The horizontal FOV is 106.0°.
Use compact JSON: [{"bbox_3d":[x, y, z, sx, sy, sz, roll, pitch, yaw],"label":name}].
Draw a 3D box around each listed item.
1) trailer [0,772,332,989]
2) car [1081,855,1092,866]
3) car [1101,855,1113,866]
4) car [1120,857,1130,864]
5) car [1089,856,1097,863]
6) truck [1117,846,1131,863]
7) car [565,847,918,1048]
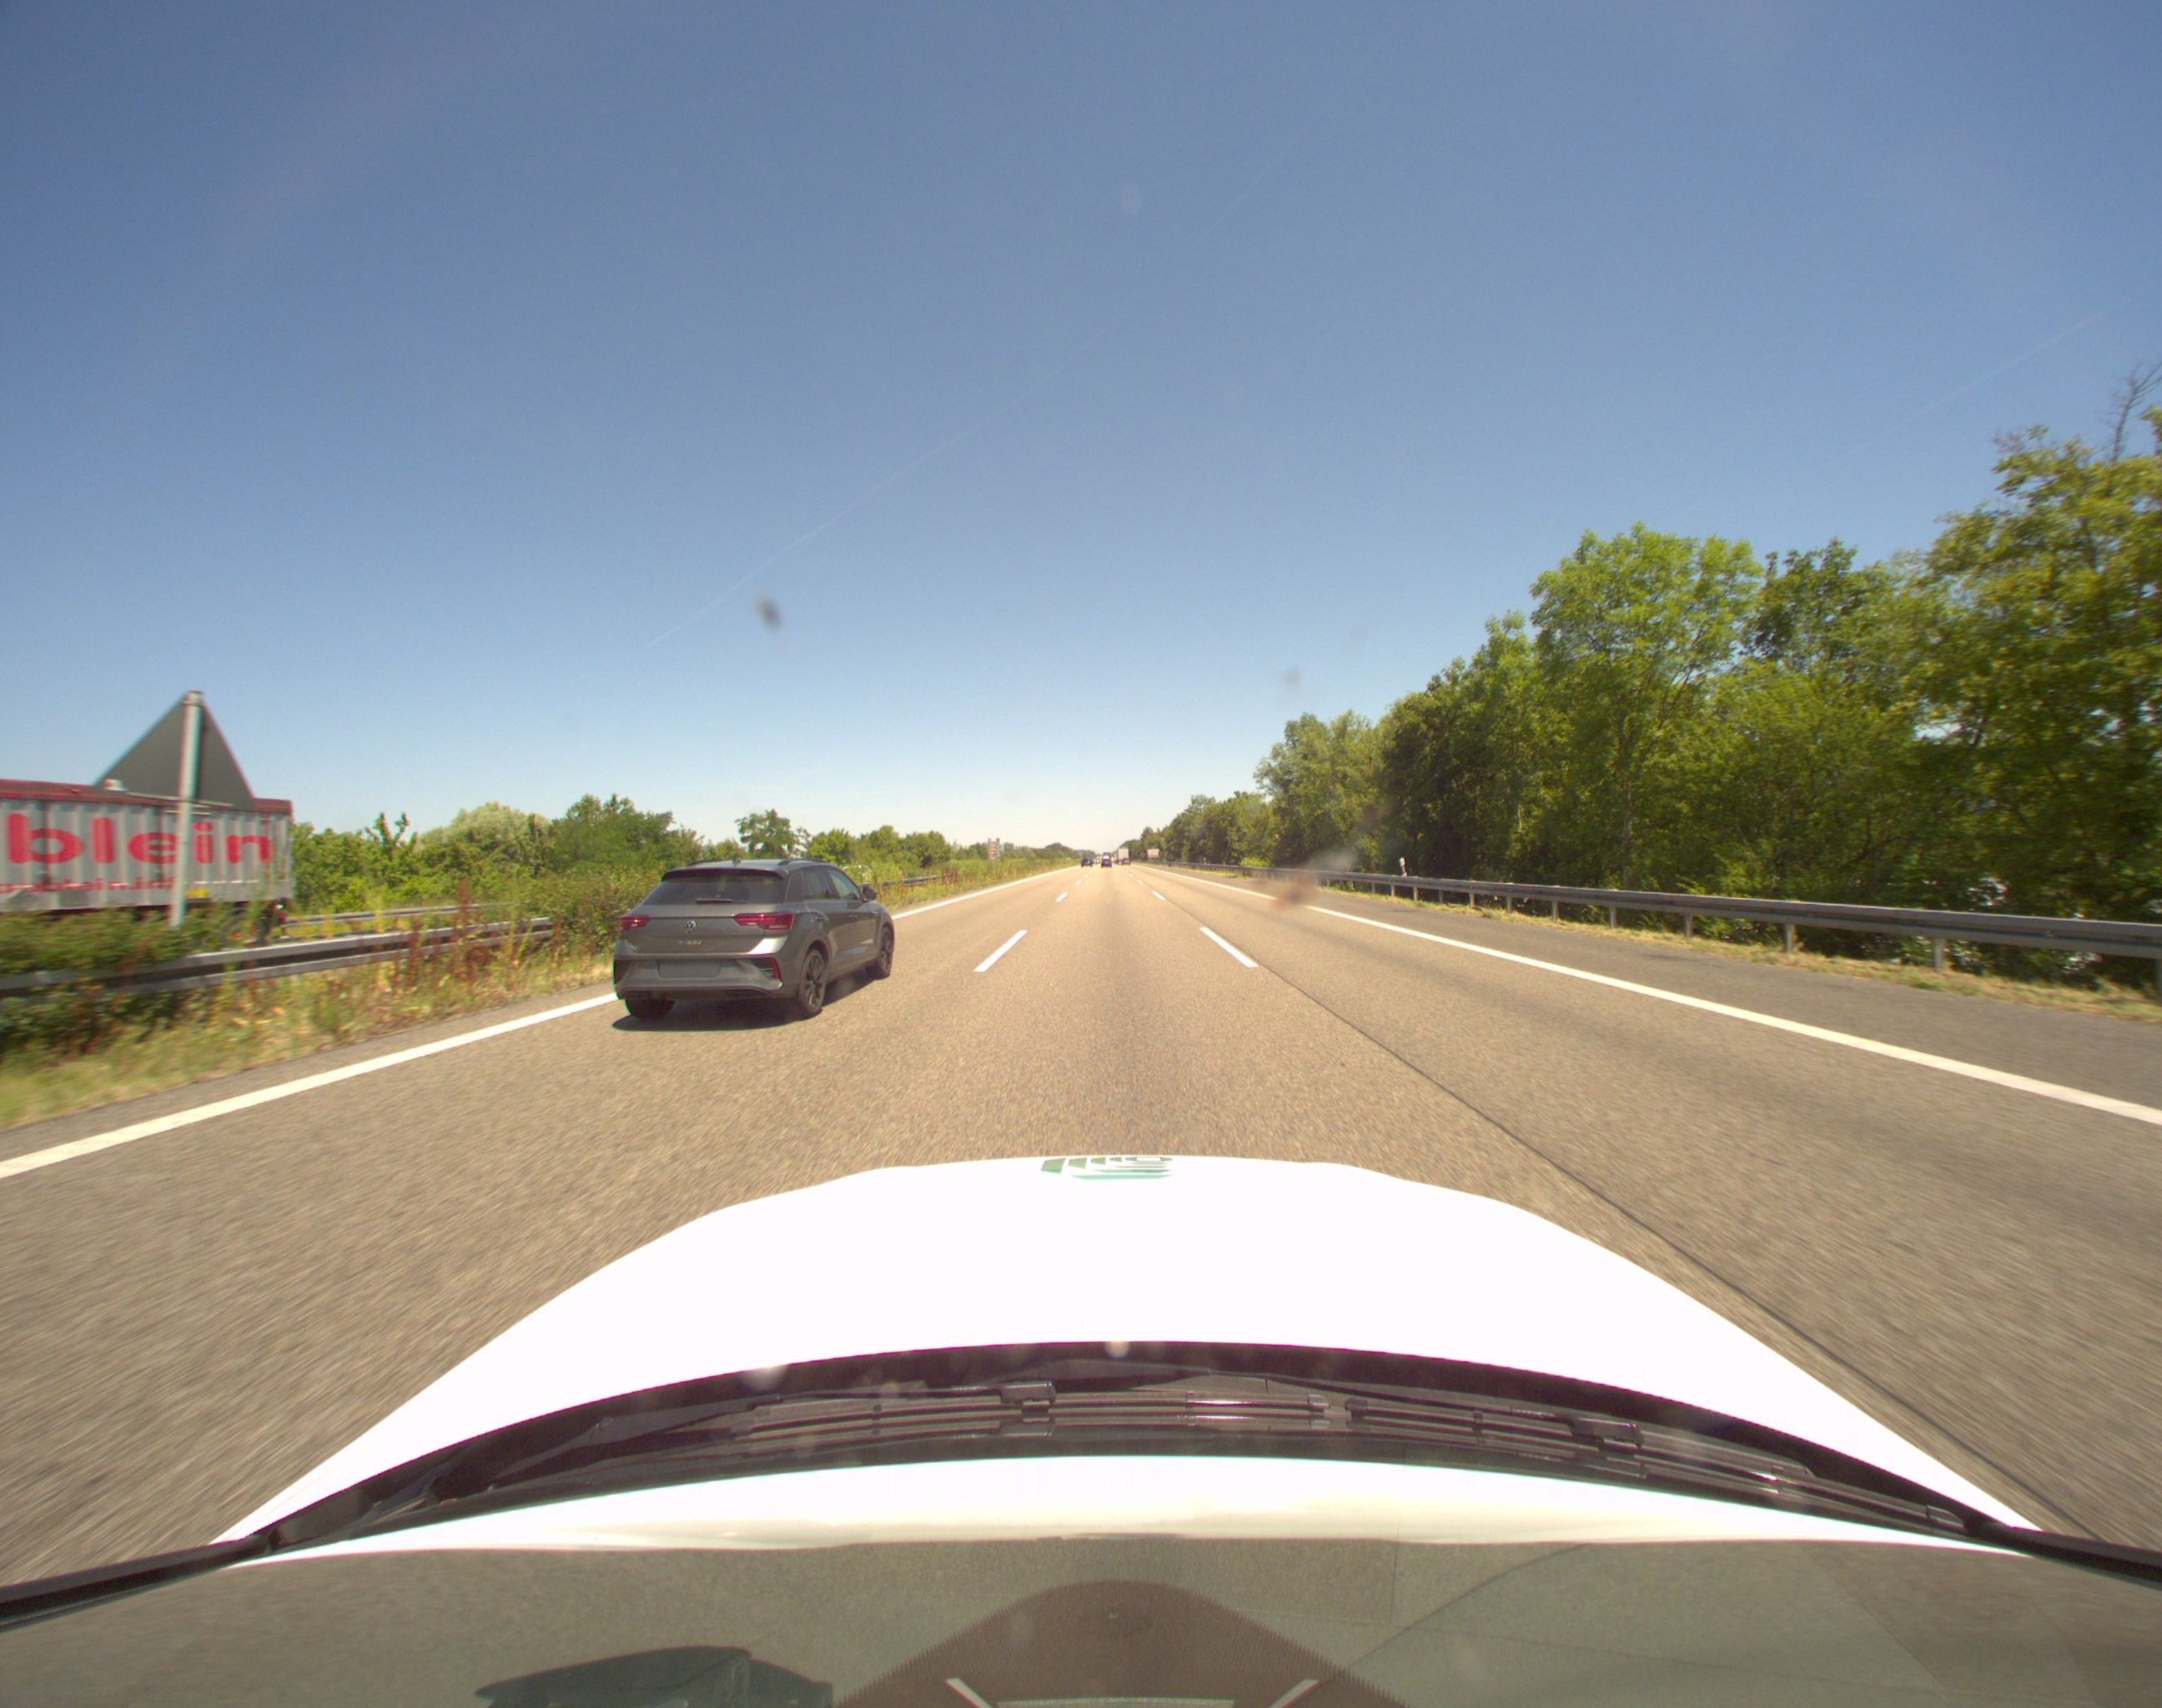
[{"bbox_3d":[-20.835,0.527,15.256,3.066,3.869,10.913,-2,0,2],"label":"trailer"},{"bbox_3d":[1.005,1.136,145.724,1.874,1.792,4.001,-1,1,1],"label":"car"},{"bbox_3d":[4.121,1.013,128.181,1.895,1.584,4.306,-2,0,2],"label":"car"},{"bbox_3d":[9.301,1.375,172.898,2.120,1.584,4.306,-2,0,2],"label":"car"},{"bbox_3d":[3.191,1.440,214.054,2.120,1.645,4.306,-2,0,2],"label":"car"},{"bbox_3d":[10.748,0.204,203.750,3.372,3.970,9.542,-2,0,2],"label":"truck"},{"bbox_3d":[-3.406,0.777,9.466,1.873,1.640,5.010,-1,1,1],"label":"car"}]
